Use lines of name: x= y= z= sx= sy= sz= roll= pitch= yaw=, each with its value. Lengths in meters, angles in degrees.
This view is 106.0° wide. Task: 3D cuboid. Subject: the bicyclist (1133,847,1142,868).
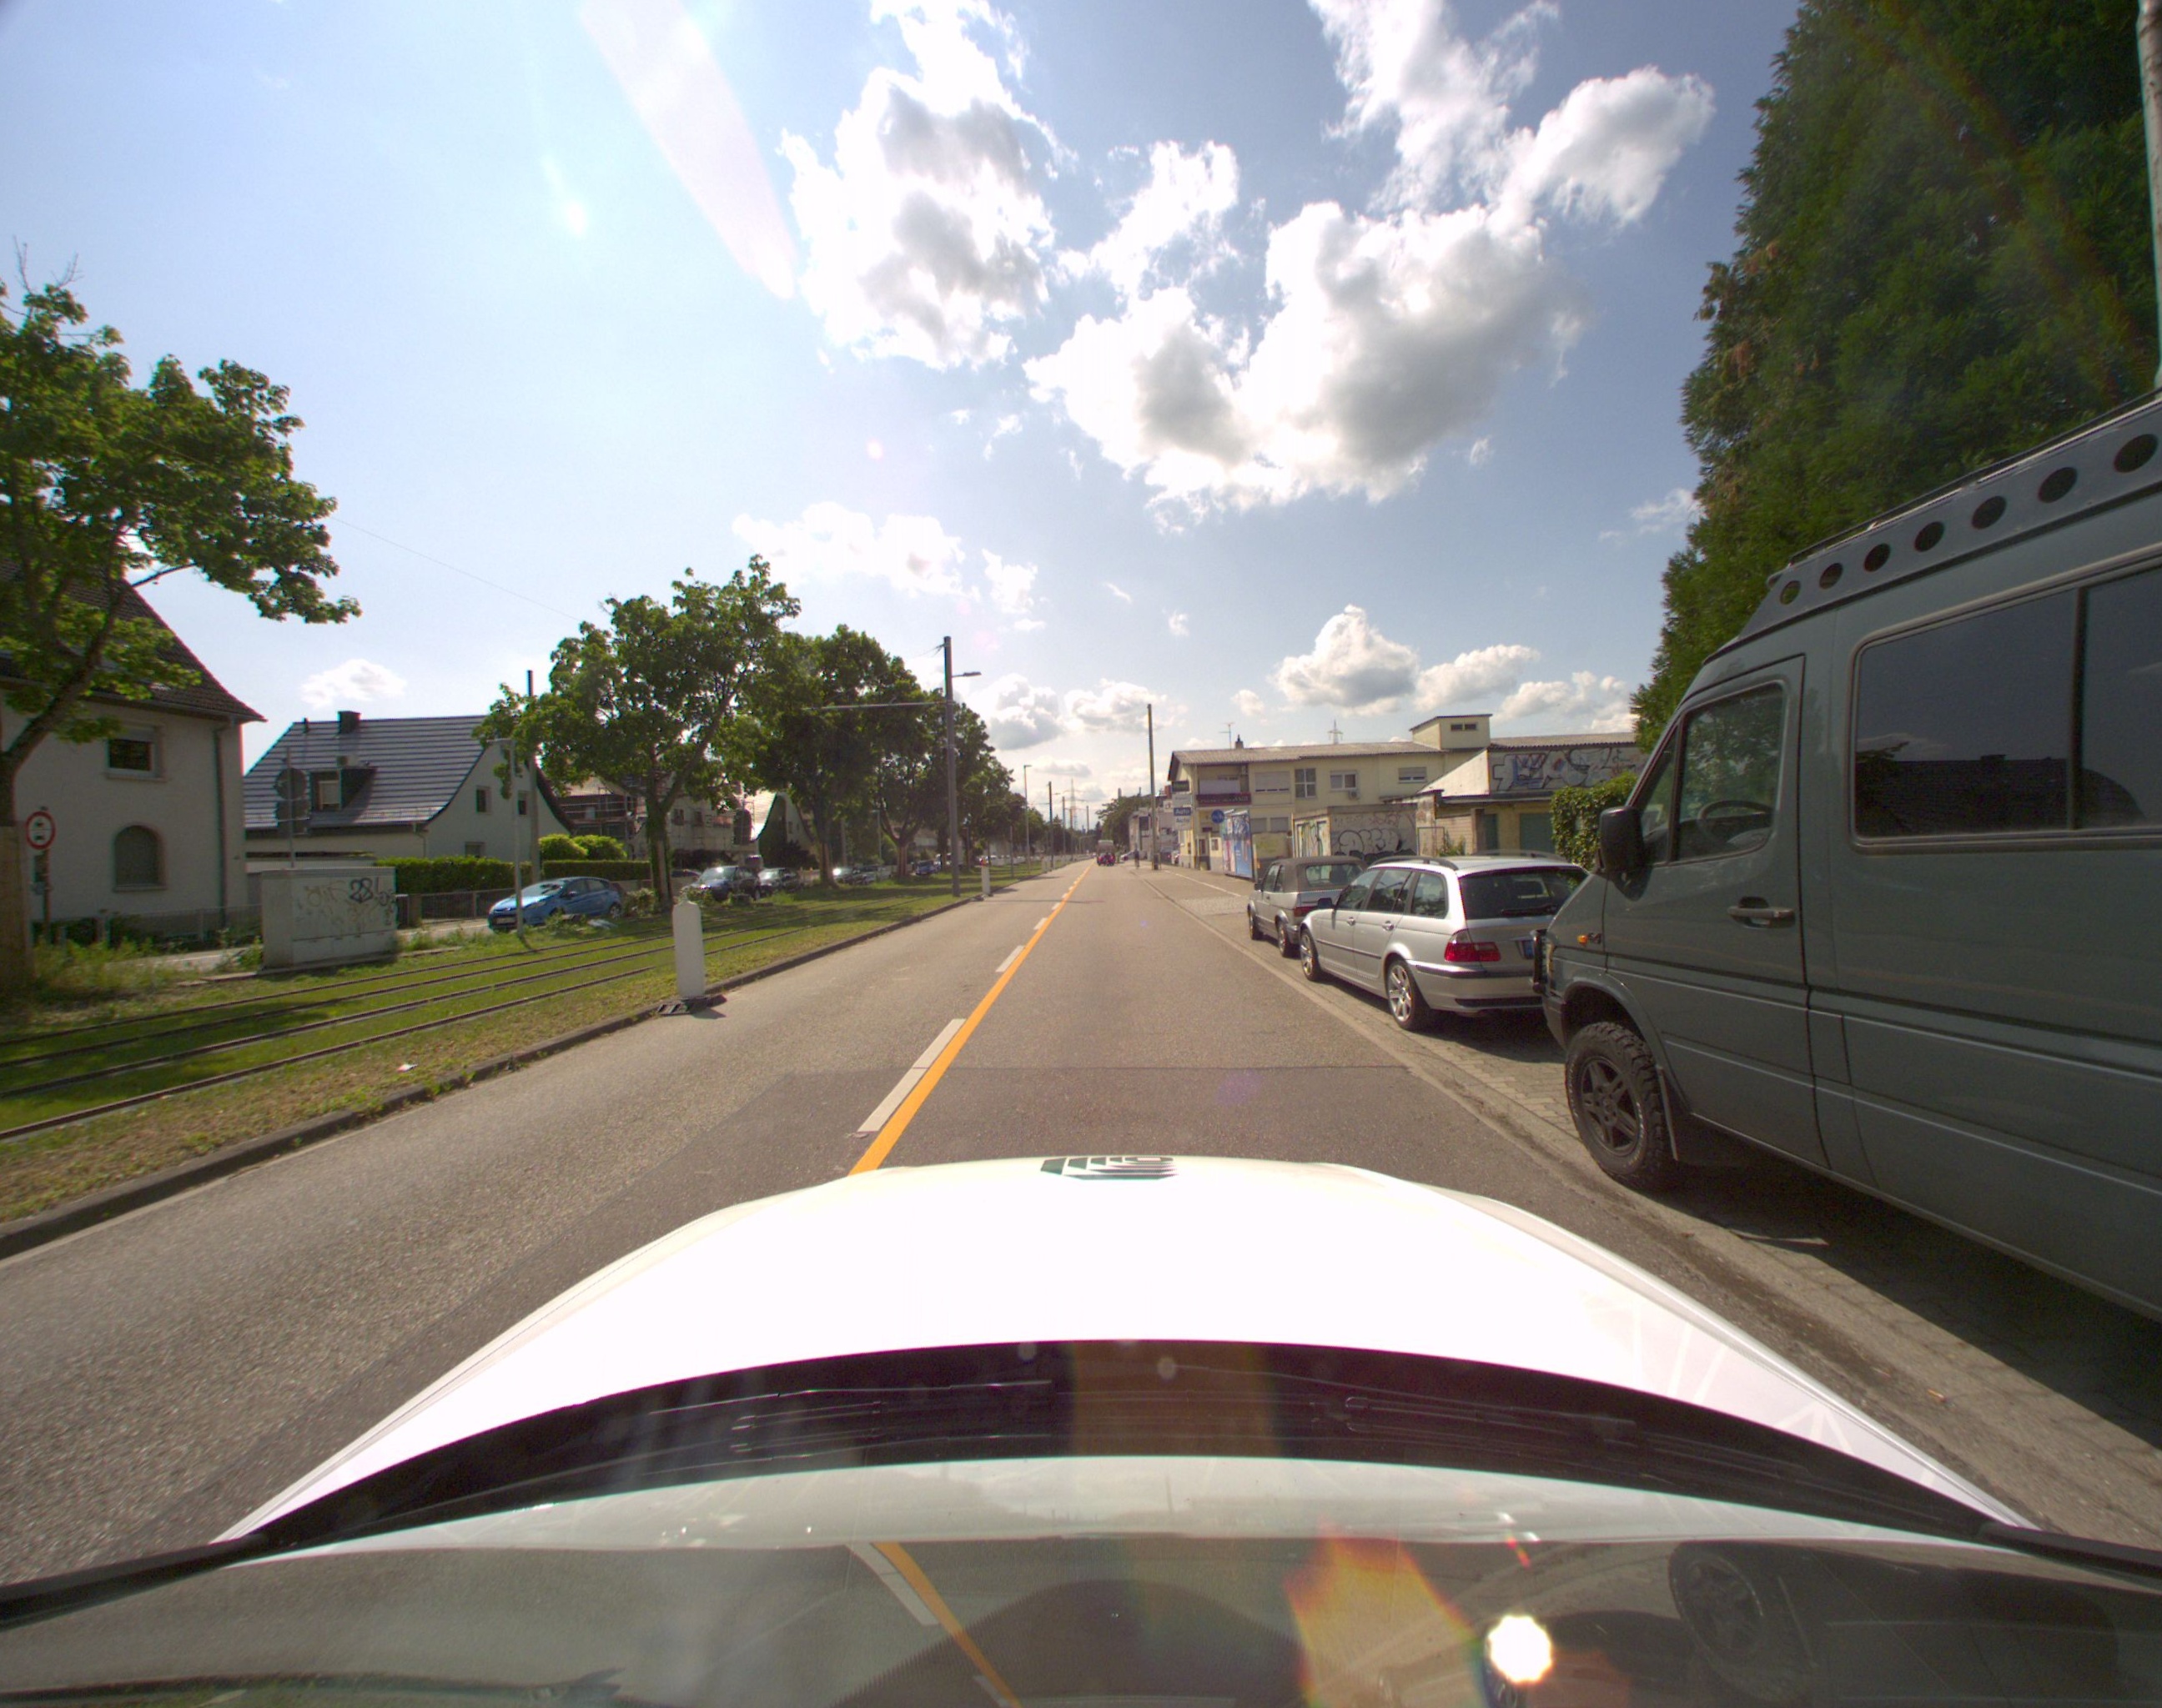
bicyclist: x=4.783 y=0.253 z=69.285 sx=0.669 sy=1.744 sz=0.814 roll=-3 pitch=0 yaw=1

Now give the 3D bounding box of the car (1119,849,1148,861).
car: x=8.606 y=0.155 z=133.420 sx=4.326 sy=1.551 sz=1.945 roll=-4 pitch=-1 yaw=-7

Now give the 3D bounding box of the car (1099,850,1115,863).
car: x=3.035 y=0.283 z=96.043 sx=1.815 sy=1.424 sz=4.002 roll=-2 pitch=0 yaw=2

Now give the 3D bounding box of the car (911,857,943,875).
car: x=-13.654 y=1.078 z=72.539 sx=1.987 sy=1.453 sz=3.999 roll=-4 pitch=0 yaw=0

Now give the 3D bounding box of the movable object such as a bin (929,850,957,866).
movable object such as a bin: x=-23.302 y=0.717 z=137.231 sx=4.351 sy=2.449 sz=1.776 roll=-3 pitch=0 yaw=-21

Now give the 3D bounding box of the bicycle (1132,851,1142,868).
bicycle: x=4.768 y=0.437 z=69.234 sx=0.690 sy=1.361 sz=2.419 roll=-3 pitch=0 yaw=1

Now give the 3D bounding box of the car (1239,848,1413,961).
car: x=3.722 y=0.692 z=13.117 sx=1.645 sy=1.431 sz=4.099 roll=-4 pitch=0 yaw=2

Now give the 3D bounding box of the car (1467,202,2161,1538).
car: x=3.235 y=0.021 z=2.237 sx=1.988 sy=2.760 sz=4.880 roll=-4 pitch=0 yaw=2

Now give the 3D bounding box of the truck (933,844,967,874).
truck: x=-13.390 y=0.417 z=83.663 sx=1.986 sy=2.767 sz=6.278 roll=-6 pitch=0 yaw=1

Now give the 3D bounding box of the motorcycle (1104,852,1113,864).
motorcycle: x=3.078 y=0.495 z=91.565 sx=0.936 sy=1.320 sz=2.646 roll=-1 pitch=0 yaw=2

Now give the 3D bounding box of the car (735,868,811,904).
car: x=-14.783 y=1.507 z=39.309 sx=1.986 sy=1.439 sz=4.001 roll=-5 pitch=0 yaw=1

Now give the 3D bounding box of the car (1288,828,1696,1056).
car: x=3.499 y=0.643 z=8.005 sx=1.686 sy=1.516 sz=4.354 roll=-4 pitch=0 yaw=-1

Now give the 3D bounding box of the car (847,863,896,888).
car: x=-14.085 y=1.410 z=55.152 sx=1.798 sy=1.482 sz=4.941 roll=-4 pitch=0 yaw=2

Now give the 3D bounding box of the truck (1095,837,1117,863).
truck: x=3.478 y=-0.636 z=112.259 sx=2.600 sy=3.255 sz=9.188 roll=-4 pitch=1 yaw=2

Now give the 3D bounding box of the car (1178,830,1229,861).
car: x=11.488 y=-0.777 z=76.692 sx=4.518 sy=2.573 sz=2.153 roll=-3 pitch=0 yaw=3

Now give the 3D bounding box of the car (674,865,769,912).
car: x=-14.682 y=1.354 z=33.561 sx=1.988 sy=1.691 sz=4.388 roll=-4 pitch=0 yaw=-2

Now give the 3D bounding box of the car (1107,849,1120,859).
car: x=4.978 y=-0.074 z=125.219 sx=1.815 sy=1.464 sz=4.002 roll=-2 pitch=0 yaw=2

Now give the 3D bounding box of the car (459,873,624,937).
car: x=-14.847 y=1.350 z=22.702 sx=1.746 sy=1.435 sz=3.893 roll=-4 pitch=0 yaw=4

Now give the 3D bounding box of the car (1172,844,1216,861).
car: x=11.020 y=-0.154 z=79.506 sx=4.160 sy=1.431 sz=1.825 roll=-3 pitch=0 yaw=8

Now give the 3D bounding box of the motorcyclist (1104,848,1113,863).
motorcyclist: x=3.071 y=0.197 z=91.385 sx=0.936 sy=1.615 sz=1.205 roll=-1 pitch=0 yaw=1

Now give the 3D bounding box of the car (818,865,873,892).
car: x=-14.245 y=1.456 z=49.499 sx=1.986 sy=1.317 sz=3.853 roll=-6 pitch=0 yaw=1
